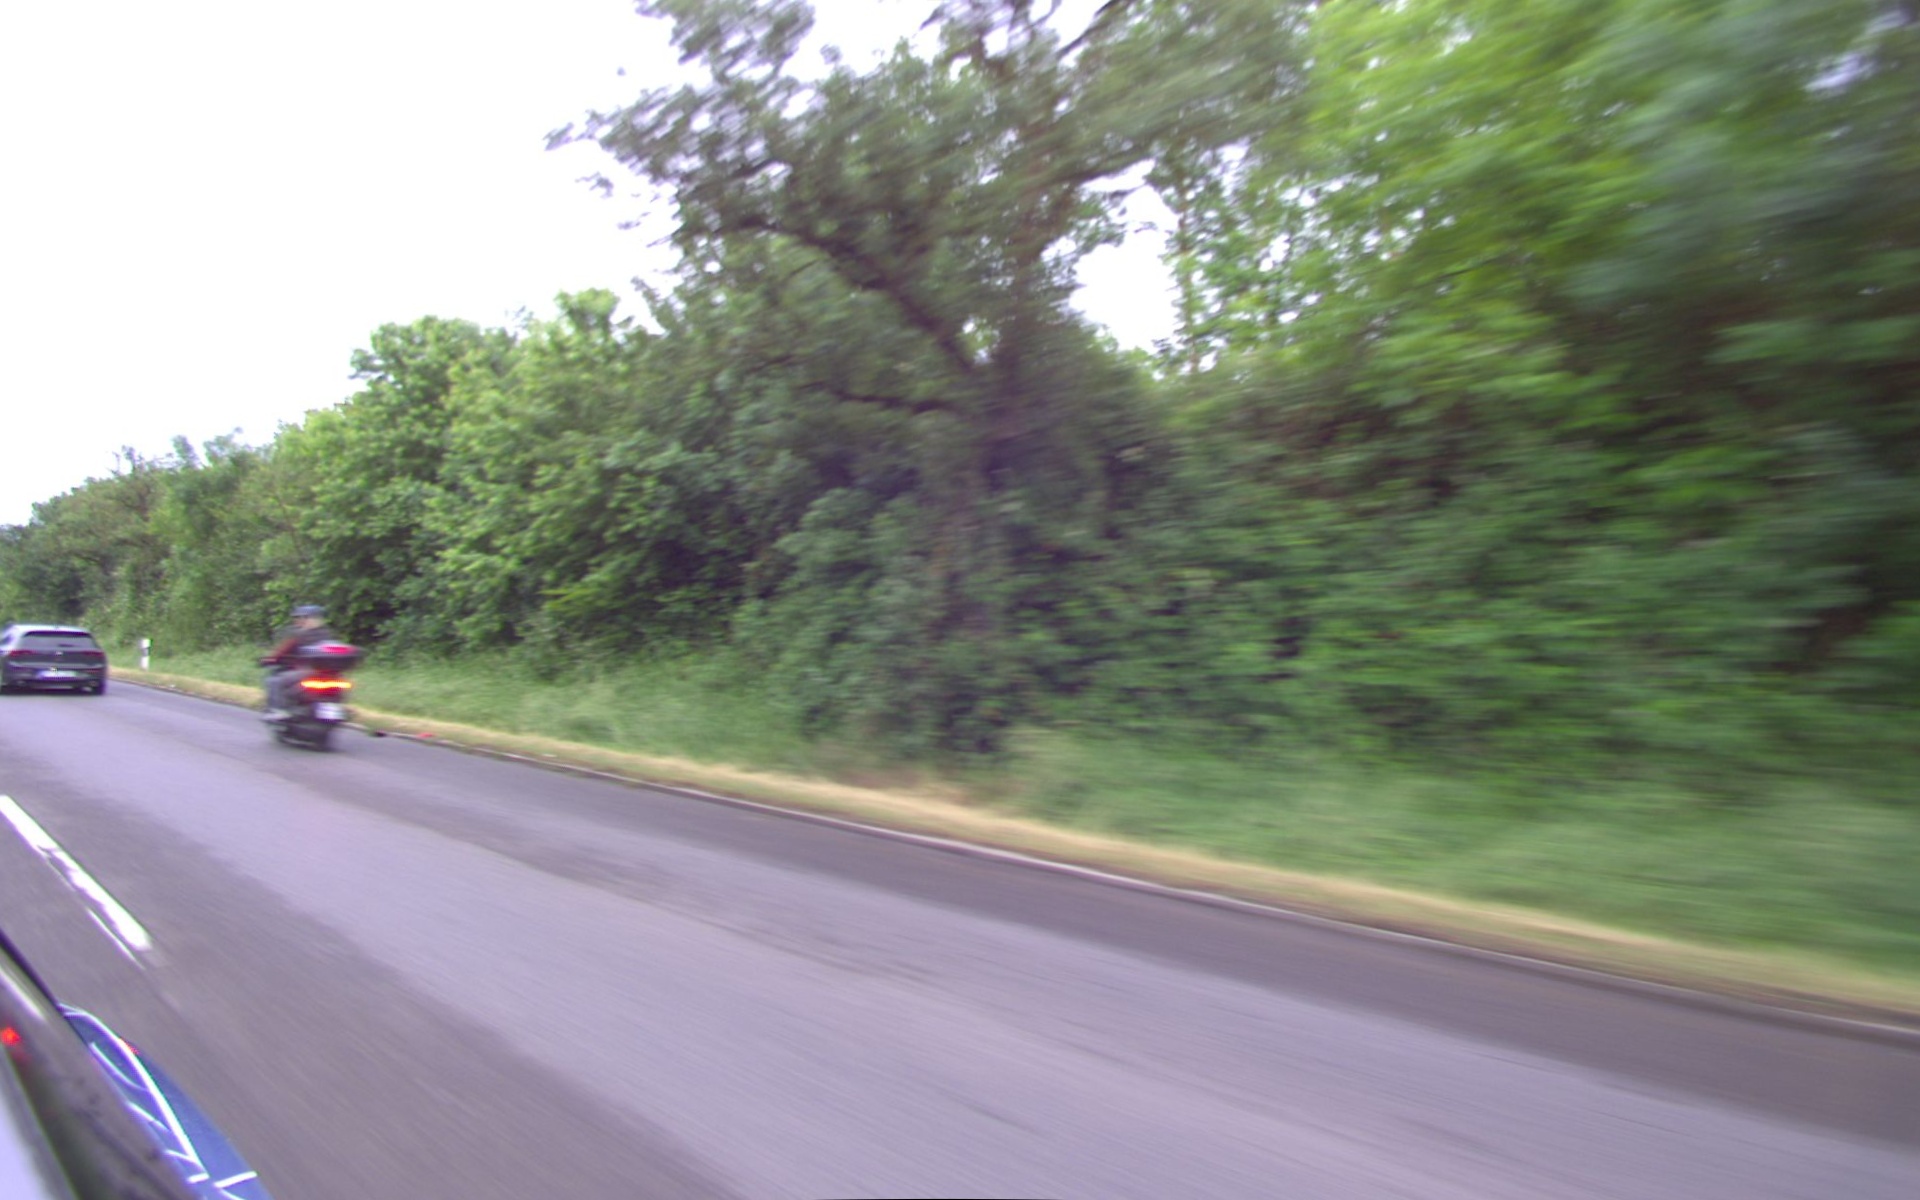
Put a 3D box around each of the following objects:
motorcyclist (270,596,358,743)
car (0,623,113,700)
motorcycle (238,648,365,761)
[{"bbox_3d":[-7.638,0.799,11.973,0.667,1.666,0.688,-1,-2,41],"label":"motorcyclist"},{"bbox_3d":[-19.537,1.260,21.511,3.622,1.485,1.770,-1,-3,41],"label":"car"},{"bbox_3d":[-7.901,1.198,12.098,2.100,1.207,0.658,-1,-4,41],"label":"motorcycle"}]
